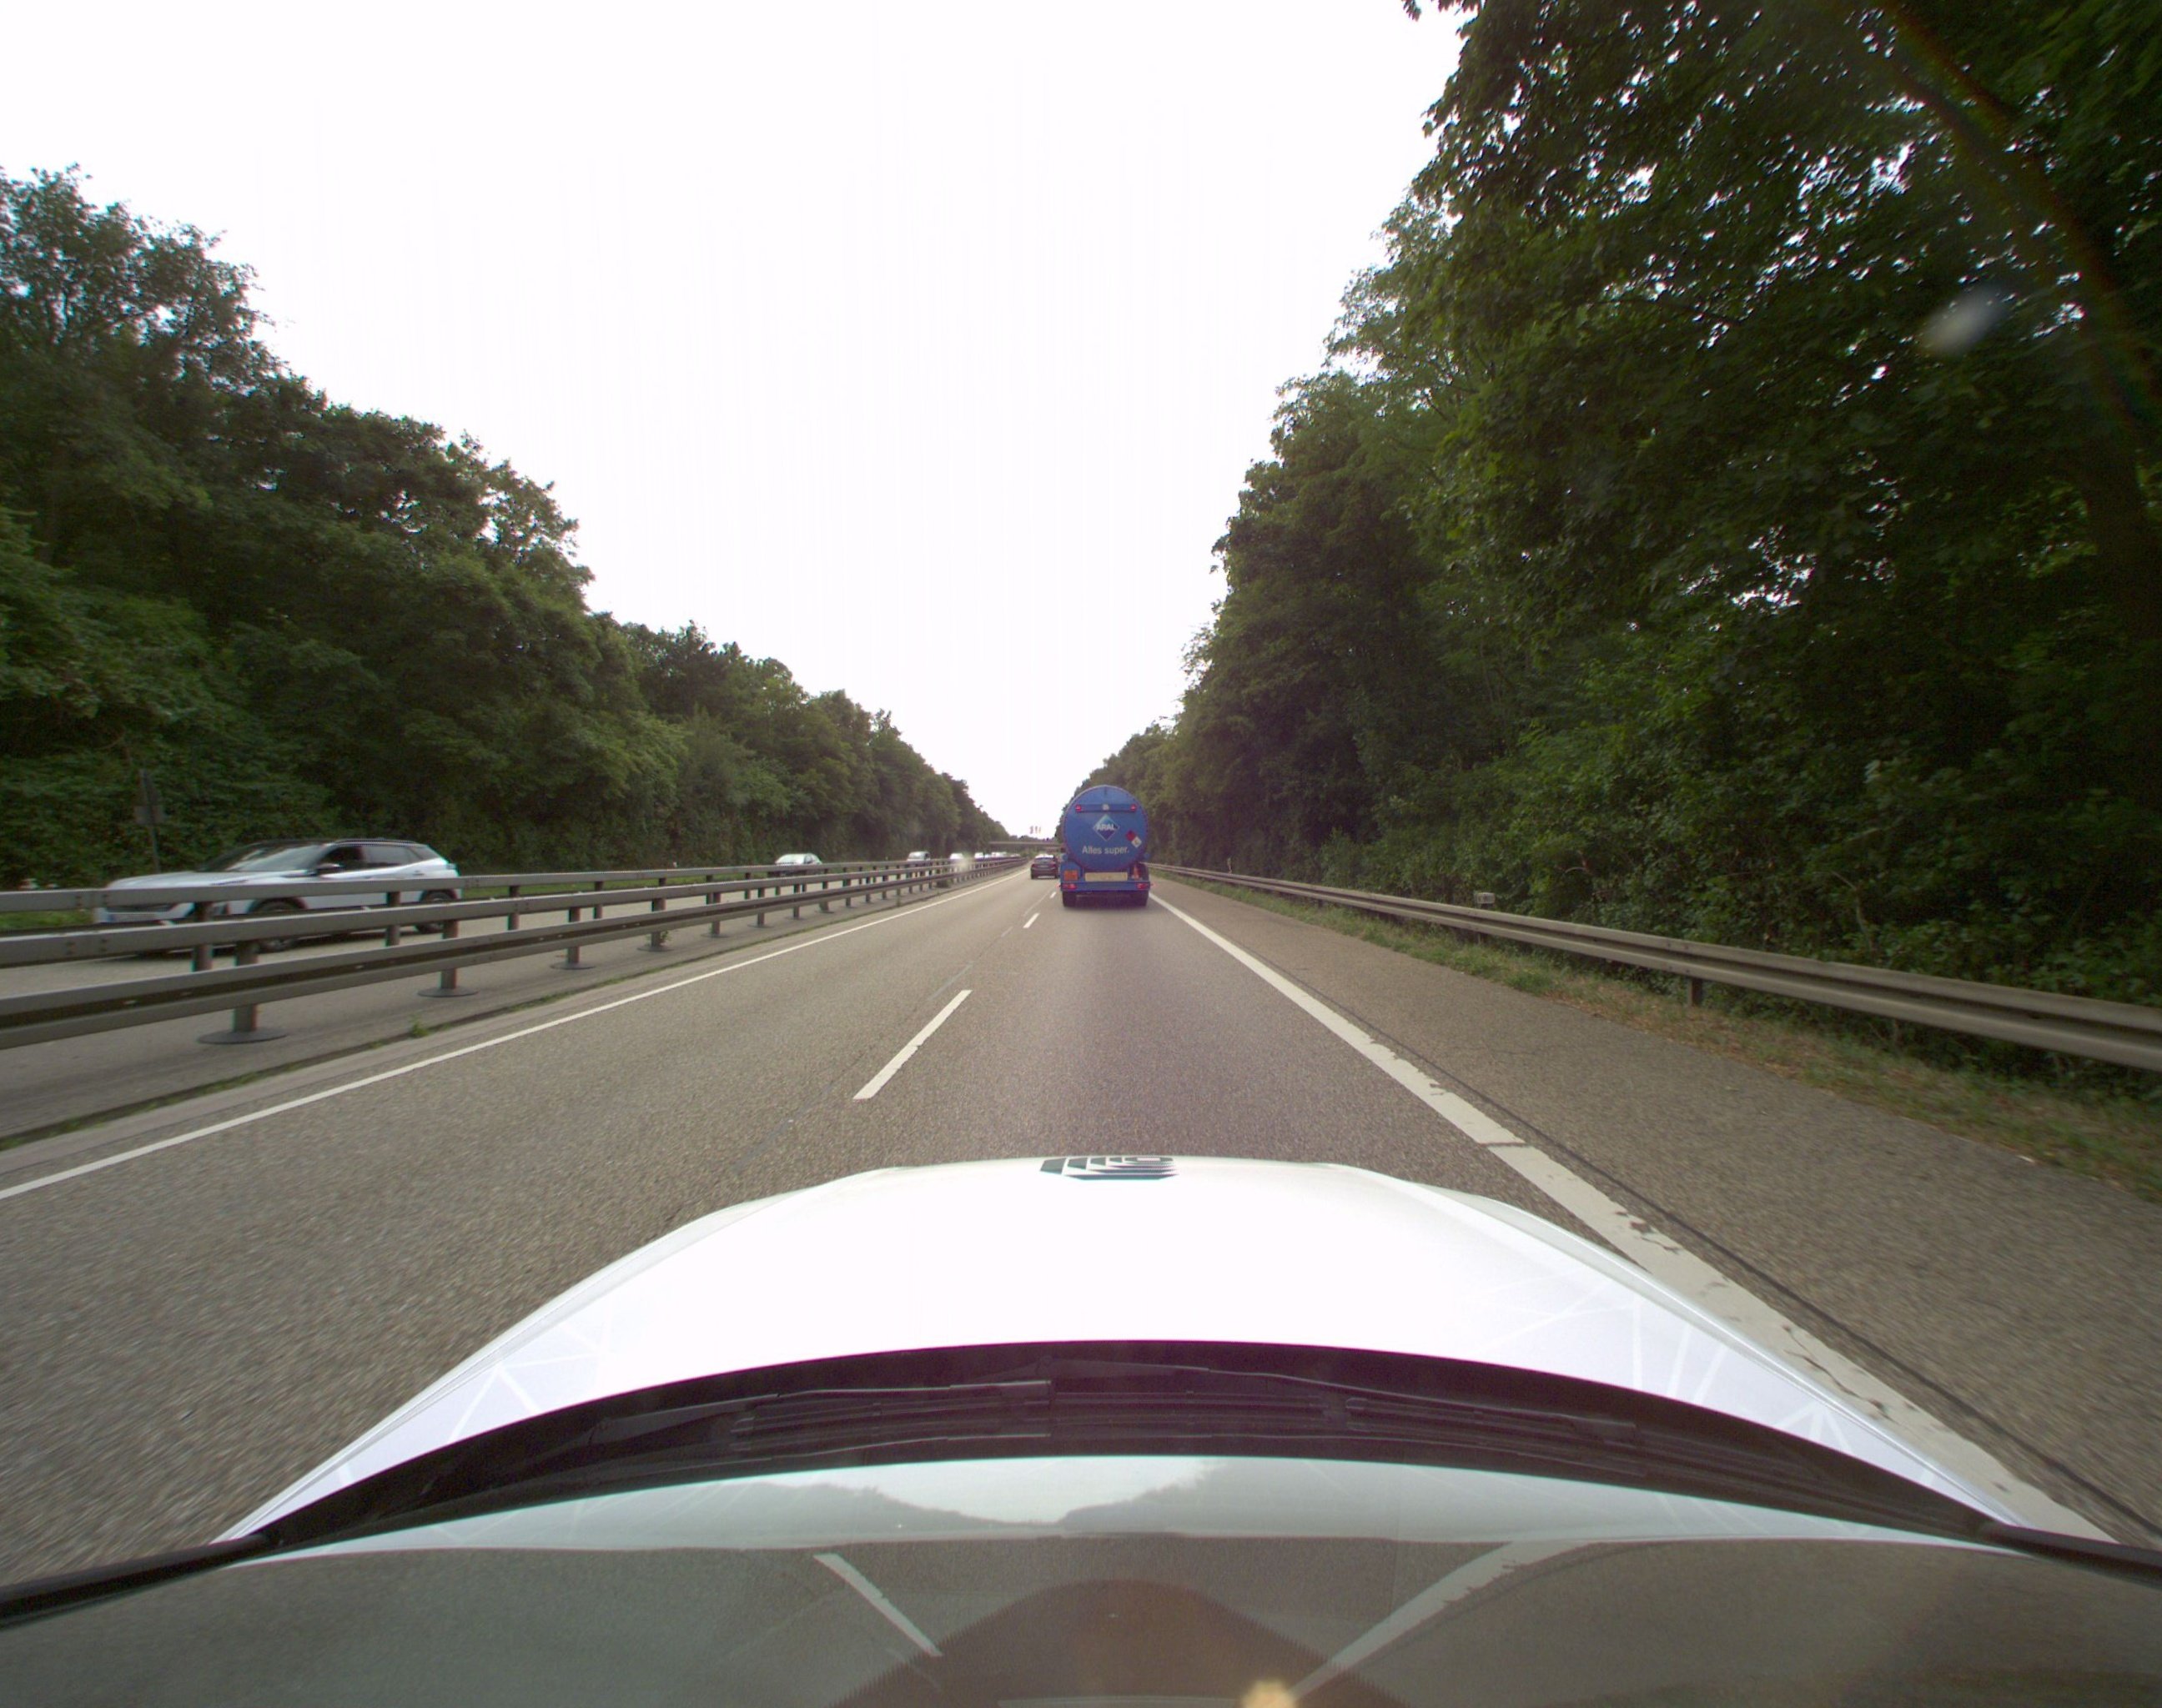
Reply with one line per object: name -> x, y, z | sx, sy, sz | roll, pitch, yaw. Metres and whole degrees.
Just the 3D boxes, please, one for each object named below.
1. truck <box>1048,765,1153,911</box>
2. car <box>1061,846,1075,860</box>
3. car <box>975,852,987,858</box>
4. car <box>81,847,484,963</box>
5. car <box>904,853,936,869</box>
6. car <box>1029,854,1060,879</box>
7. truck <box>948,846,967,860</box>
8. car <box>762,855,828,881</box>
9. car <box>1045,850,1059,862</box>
truck -> 0.699, -0.455, 25.709 | 2.744, 3.846, 7.693 | -1, 0, 2
car -> -2.072, -0.136, 128.505 | 1.989, 2.244, 3.996 | -1, 0, -3
car -> -18.702, 0.212, 152.100 | 1.736, 1.189, 4.290 | -1, 0, 0
car -> -11.321, 0.626, 12.078 | 1.637, 1.389, 4.292 | -1, 0, 2
car -> -12.719, 0.555, 64.515 | 1.737, 1.189, 4.288 | -1, 0, -1
car -> -2.273, 0.775, 51.719 | 1.821, 1.458, 4.637 | -1, 0, -1
truck -> -16.879, -0.140, 111.366 | 1.988, 1.739, 3.997 | -1, 0, -2
car -> -14.637, 0.687, 41.971 | 1.735, 1.189, 4.292 | -1, 0, 2
car -> -4.008, 0.326, 112.281 | 1.820, 1.609, 4.166 | -1, 0, 0
